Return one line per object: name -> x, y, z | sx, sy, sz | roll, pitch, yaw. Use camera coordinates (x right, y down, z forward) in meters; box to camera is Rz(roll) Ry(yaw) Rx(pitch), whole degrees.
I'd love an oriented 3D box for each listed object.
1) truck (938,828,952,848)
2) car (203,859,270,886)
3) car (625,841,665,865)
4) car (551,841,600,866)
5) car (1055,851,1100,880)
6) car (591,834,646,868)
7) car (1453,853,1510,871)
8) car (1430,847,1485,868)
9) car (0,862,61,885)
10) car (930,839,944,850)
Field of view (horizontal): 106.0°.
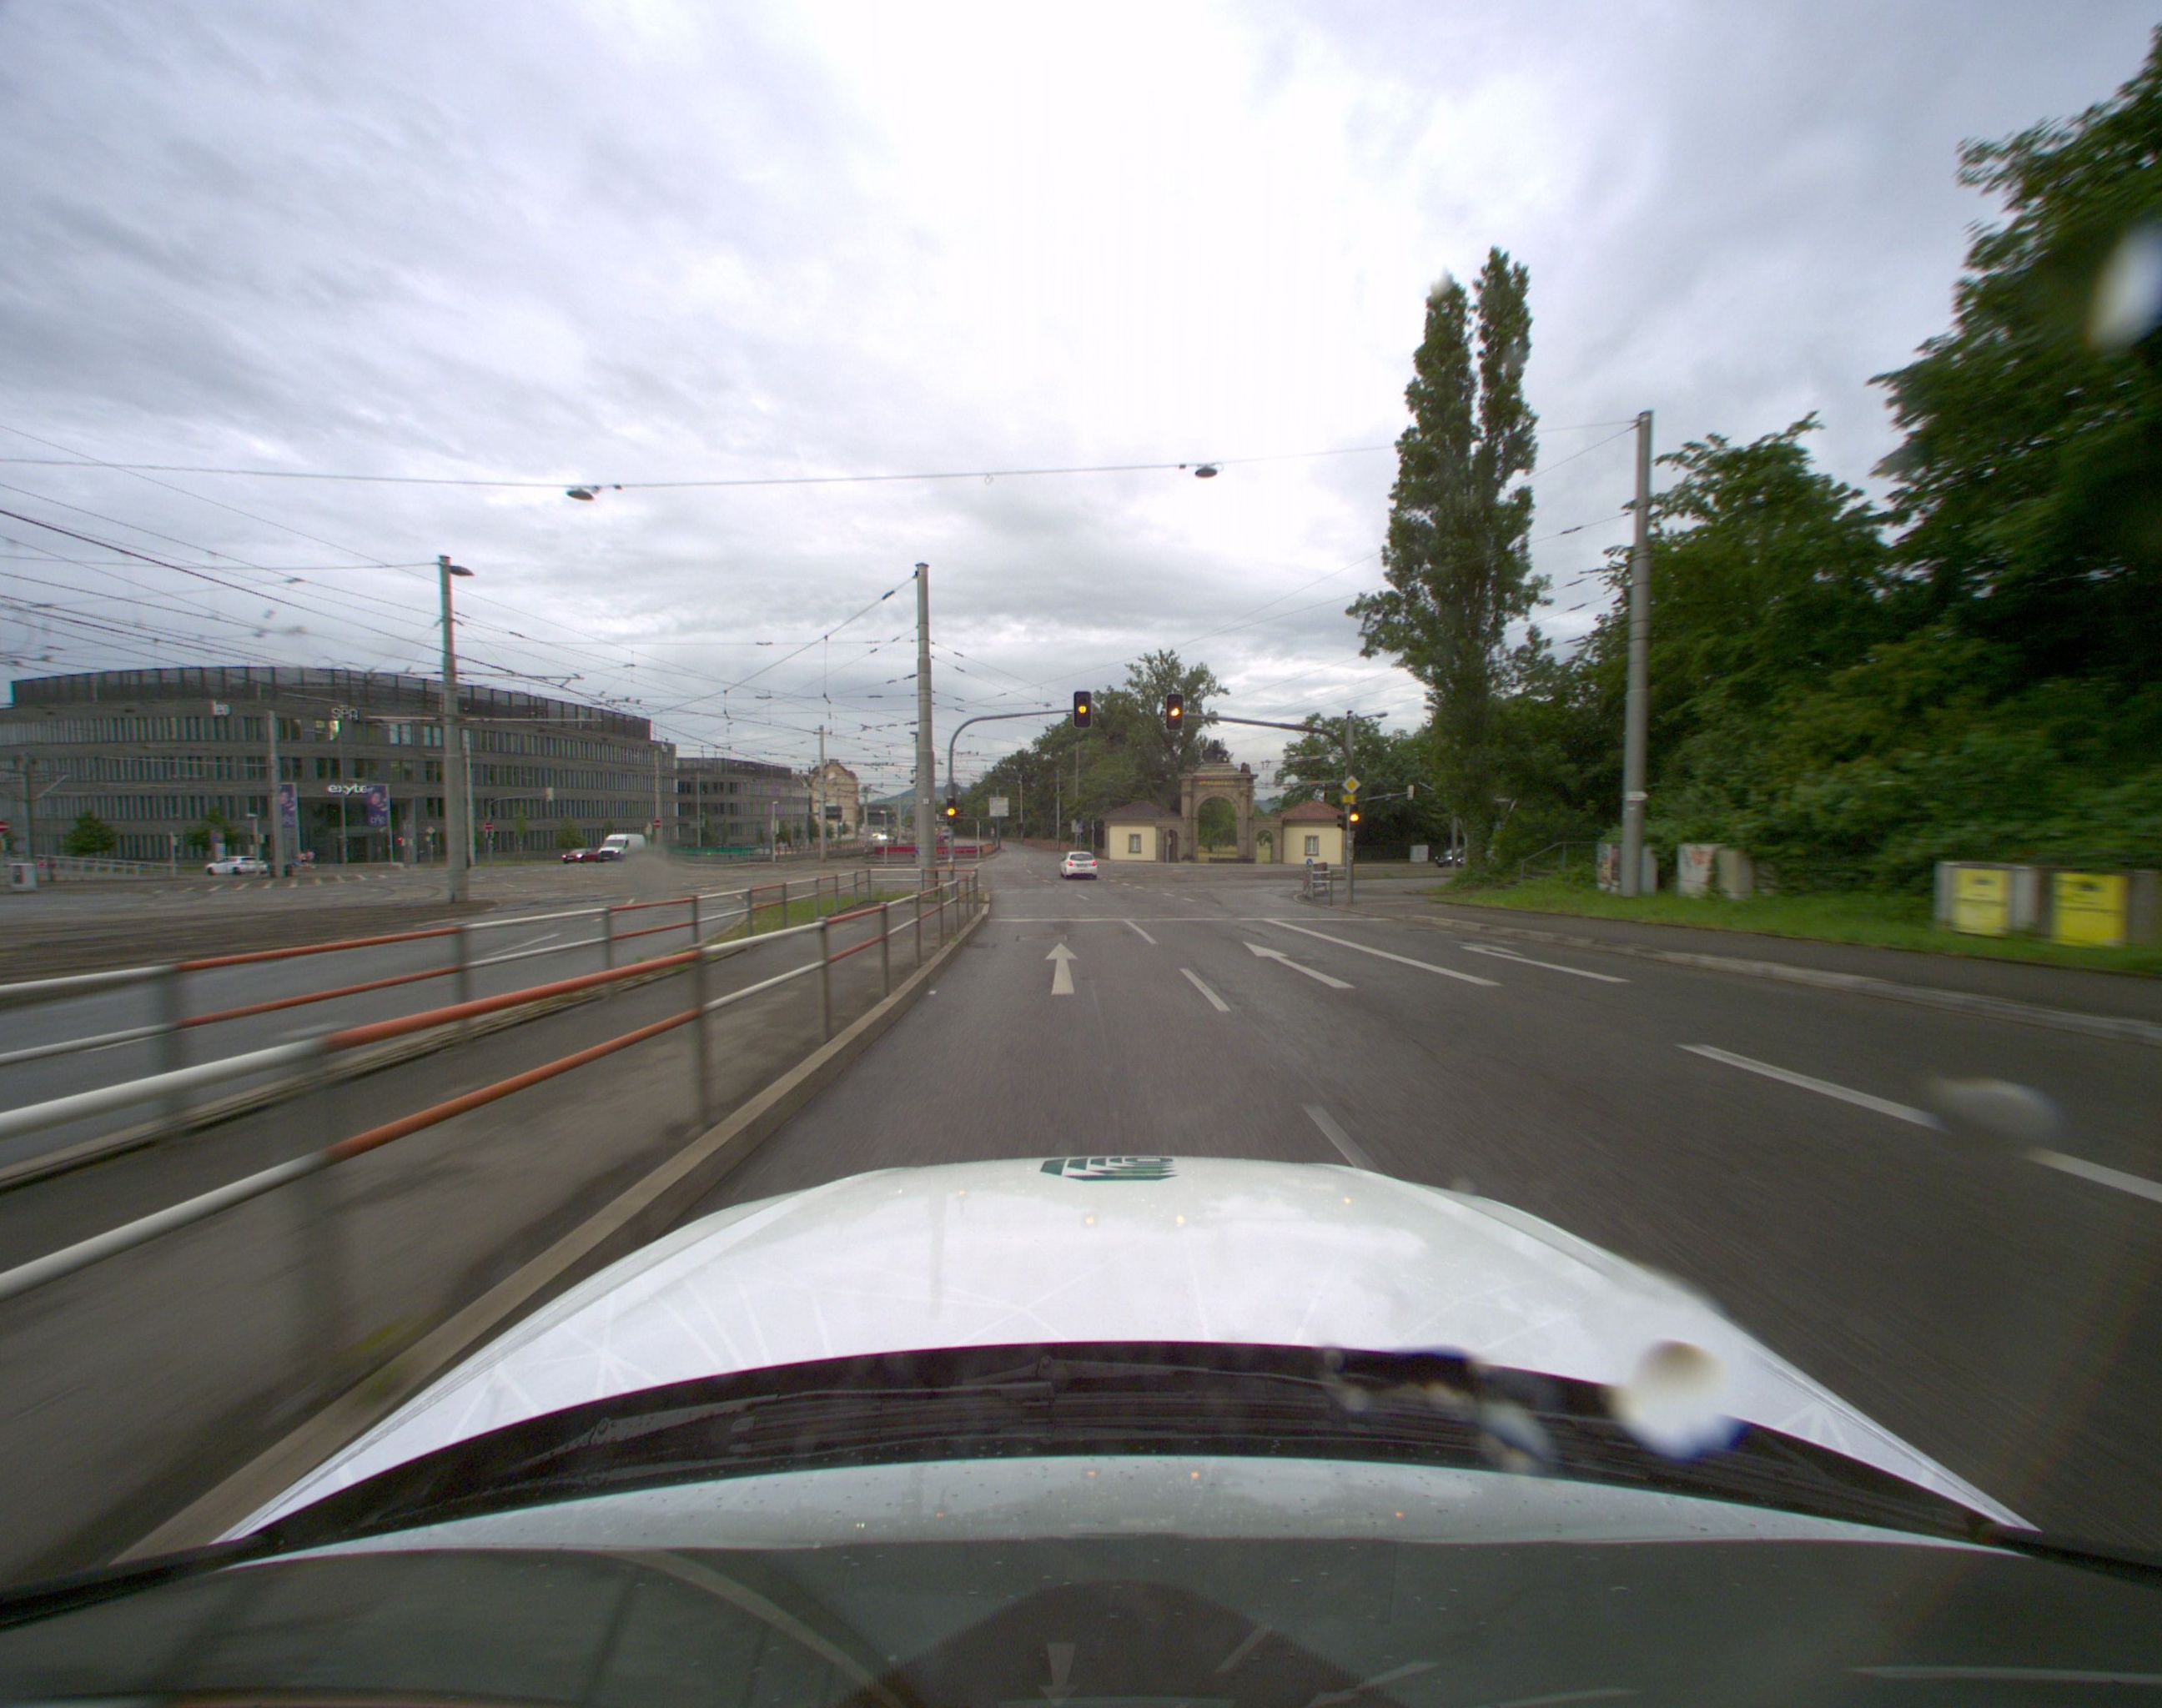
truck -> -40.365, -4.610, 240.969 | 3.468, 5.401, 11.998 | 0, -2, -13
car -> -64.346, 1.409, 62.068 | 3.954, 2.014, 2.009 | -1, -2, 18
car -> -44.063, -0.054, 82.403 | 1.990, 2.153, 4.239 | -1, -2, -5
car -> -45.651, -0.016, 73.610 | 1.990, 2.153, 4.240 | -1, 0, -5
car -> -0.229, 0.647, 44.502 | 1.954, 1.488, 3.989 | 0, -2, -8
car -> -42.065, -0.276, 74.235 | 1.990, 2.831, 5.707 | -3, 0, -5
car -> 32.809, 0.667, 66.662 | 4.270, 1.455, 1.983 | 0, -2, -26
car -> 32.041, 0.337, 69.240 | 4.270, 1.735, 1.983 | 0, -2, -26
car -> -85.655, 1.585, 66.275 | 3.954, 1.816, 2.009 | -1, -2, 18
car -> -24.328, -1.585, 137.311 | 1.996, 1.872, 3.981 | -2, 1, -14
